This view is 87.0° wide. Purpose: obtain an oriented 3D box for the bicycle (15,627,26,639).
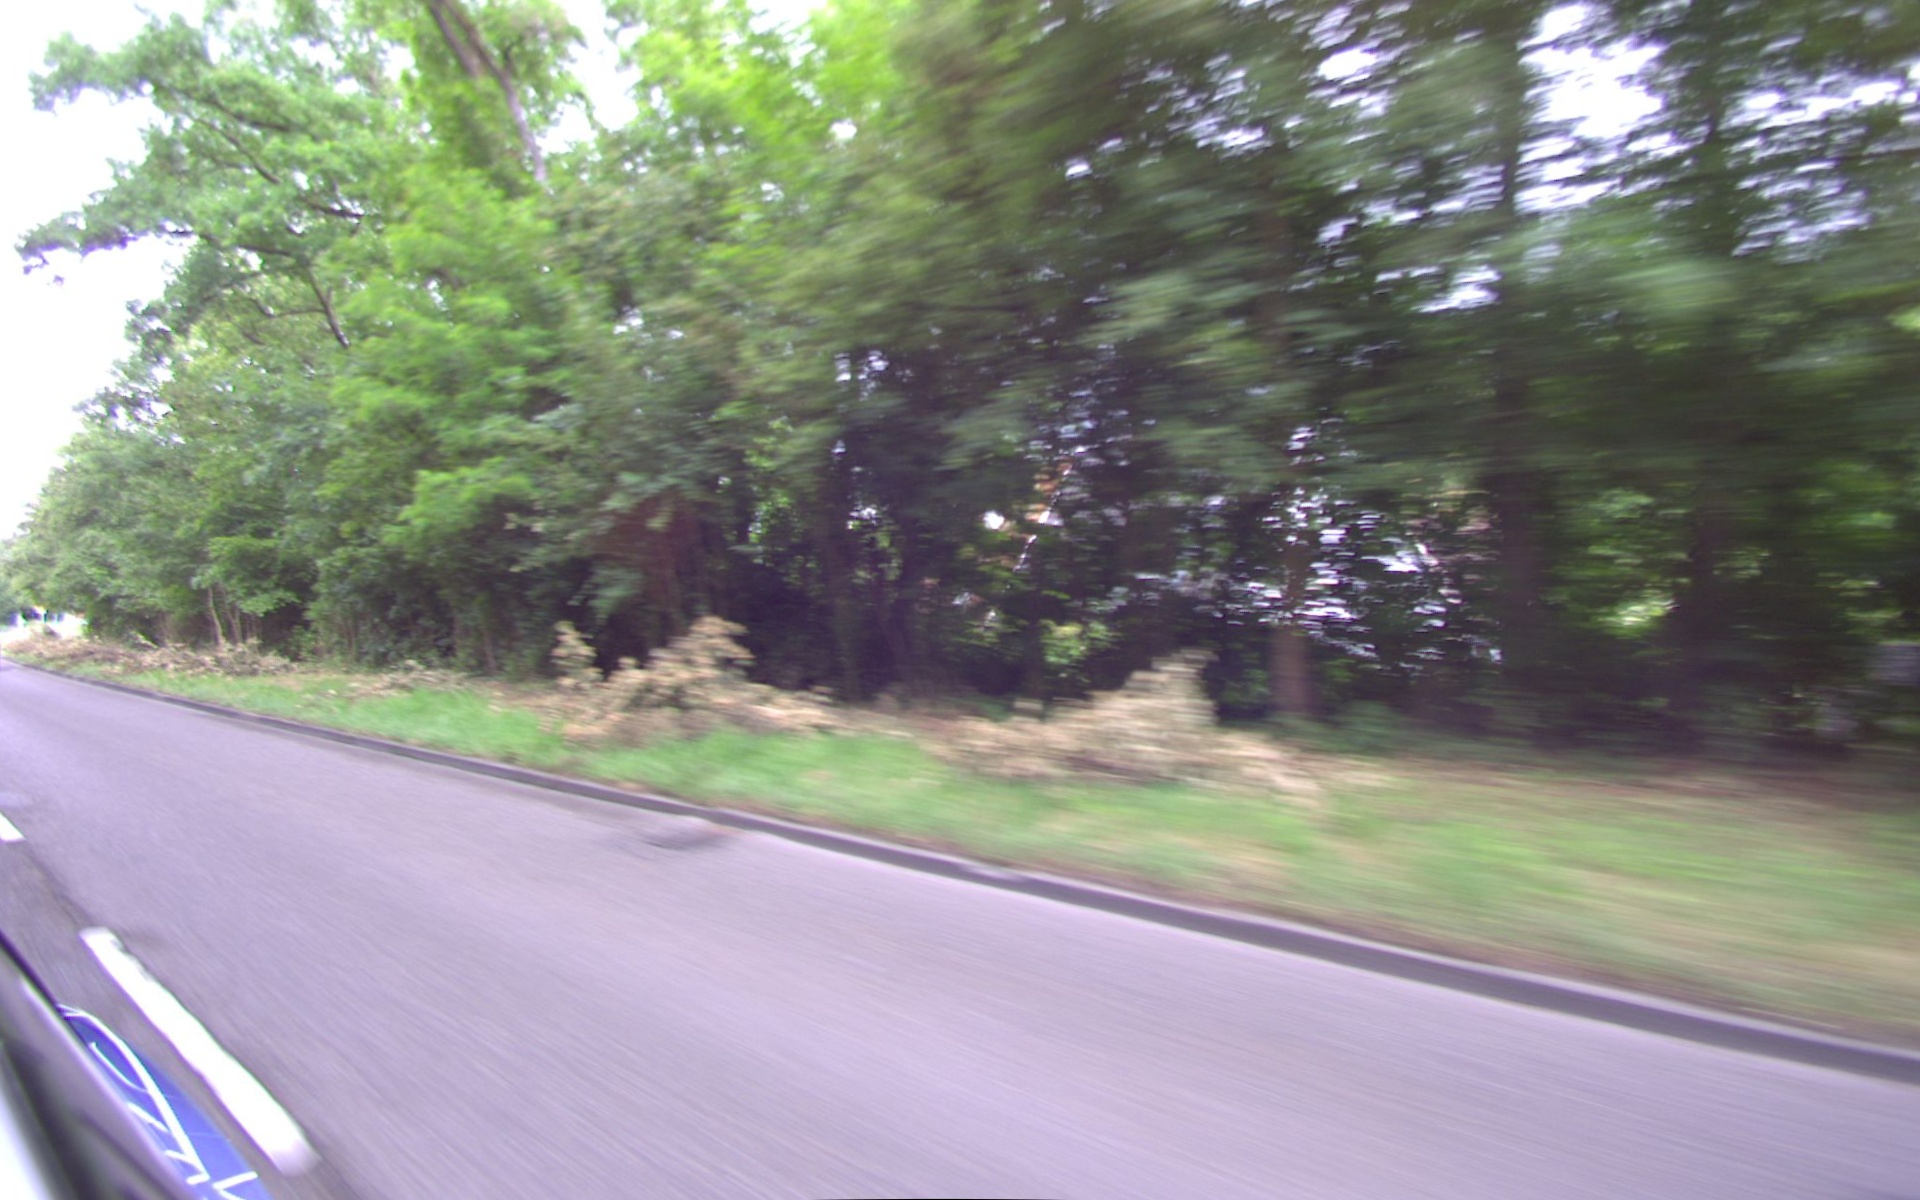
[{"bbox_3d":[-86.772,3.078,93.498,0.657,1.082,2.149,-1,-1,-40],"label":"bicycle"}]
